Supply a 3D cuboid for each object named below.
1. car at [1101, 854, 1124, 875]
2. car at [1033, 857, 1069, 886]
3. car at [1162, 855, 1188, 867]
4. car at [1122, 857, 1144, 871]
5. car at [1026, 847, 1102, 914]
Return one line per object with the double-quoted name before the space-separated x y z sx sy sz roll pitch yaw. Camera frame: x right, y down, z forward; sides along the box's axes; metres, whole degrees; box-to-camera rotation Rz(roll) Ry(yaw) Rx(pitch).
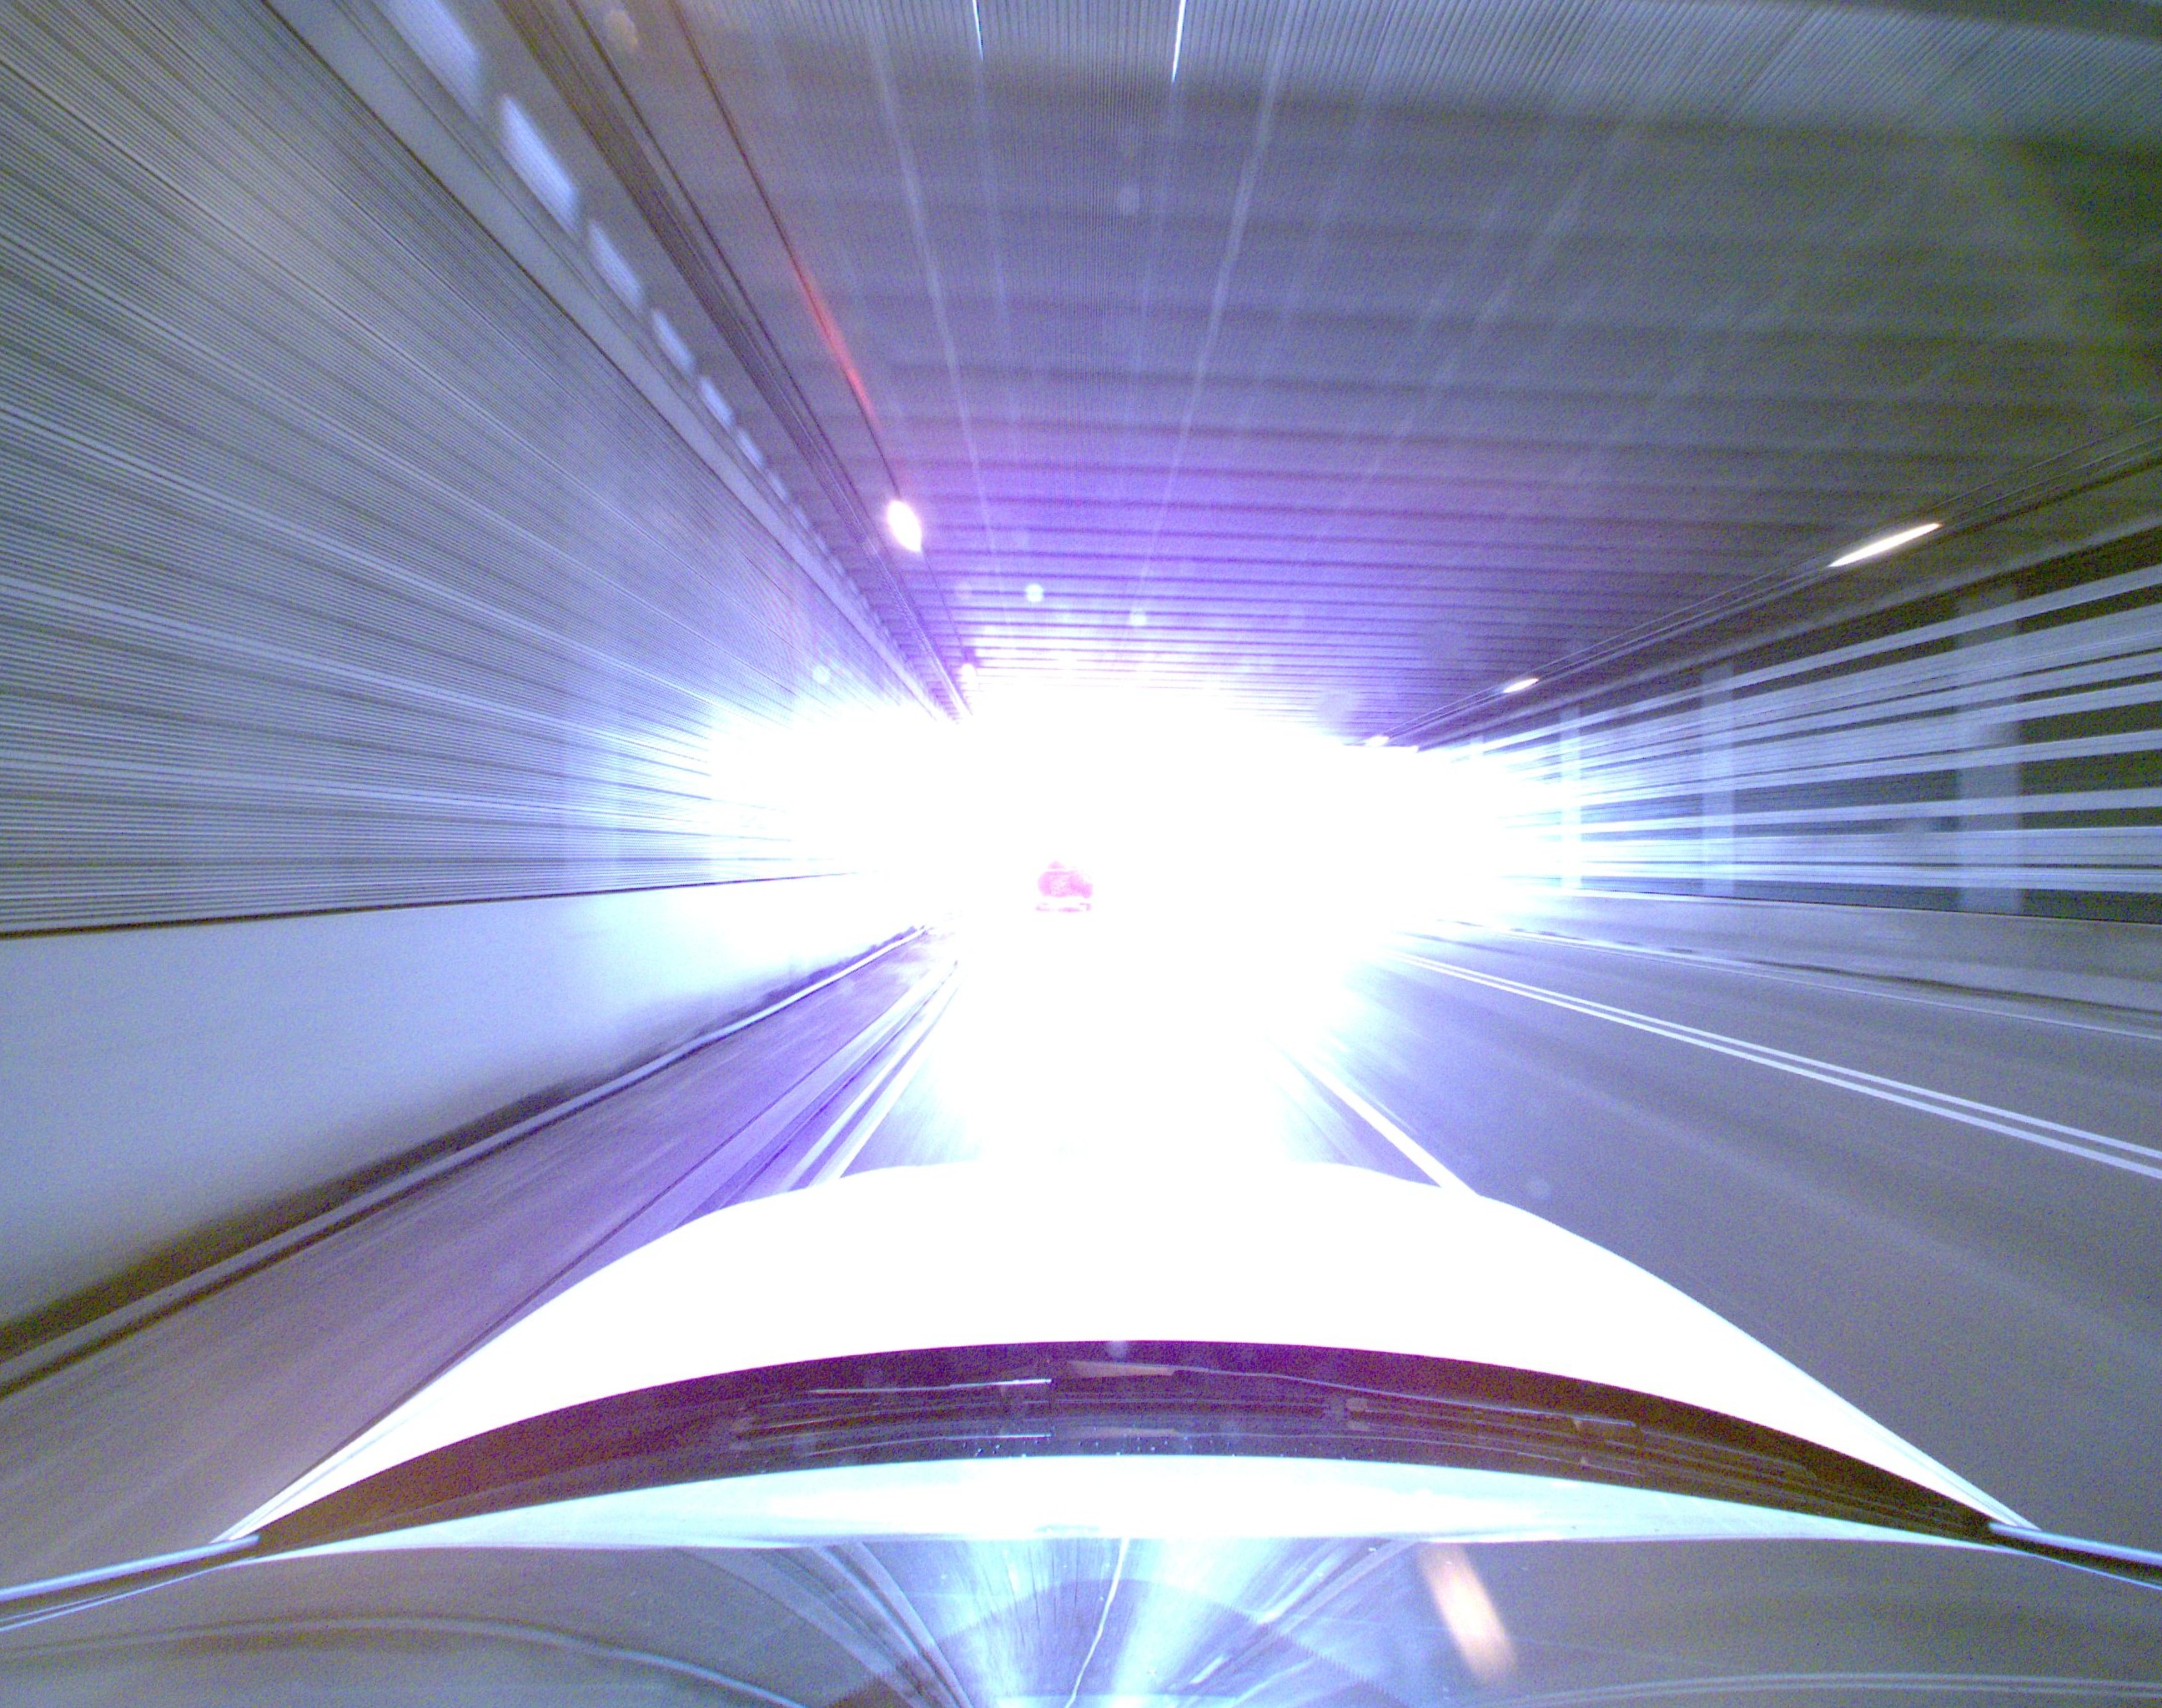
"car" 2.848 0.921 74.325 1.986 1.860 4.001 1 0 1
"car" -1.597 0.901 43.398 1.810 1.434 4.061 0 0 -2
"car" 12.397 0.943 107.072 1.974 1.469 4.025 -1 -1 30
"car" 5.867 1.137 91.695 1.999 1.488 4.078 1 1 11
"car" -0.682 0.781 26.181 1.990 1.859 5.629 -1 0 -6
